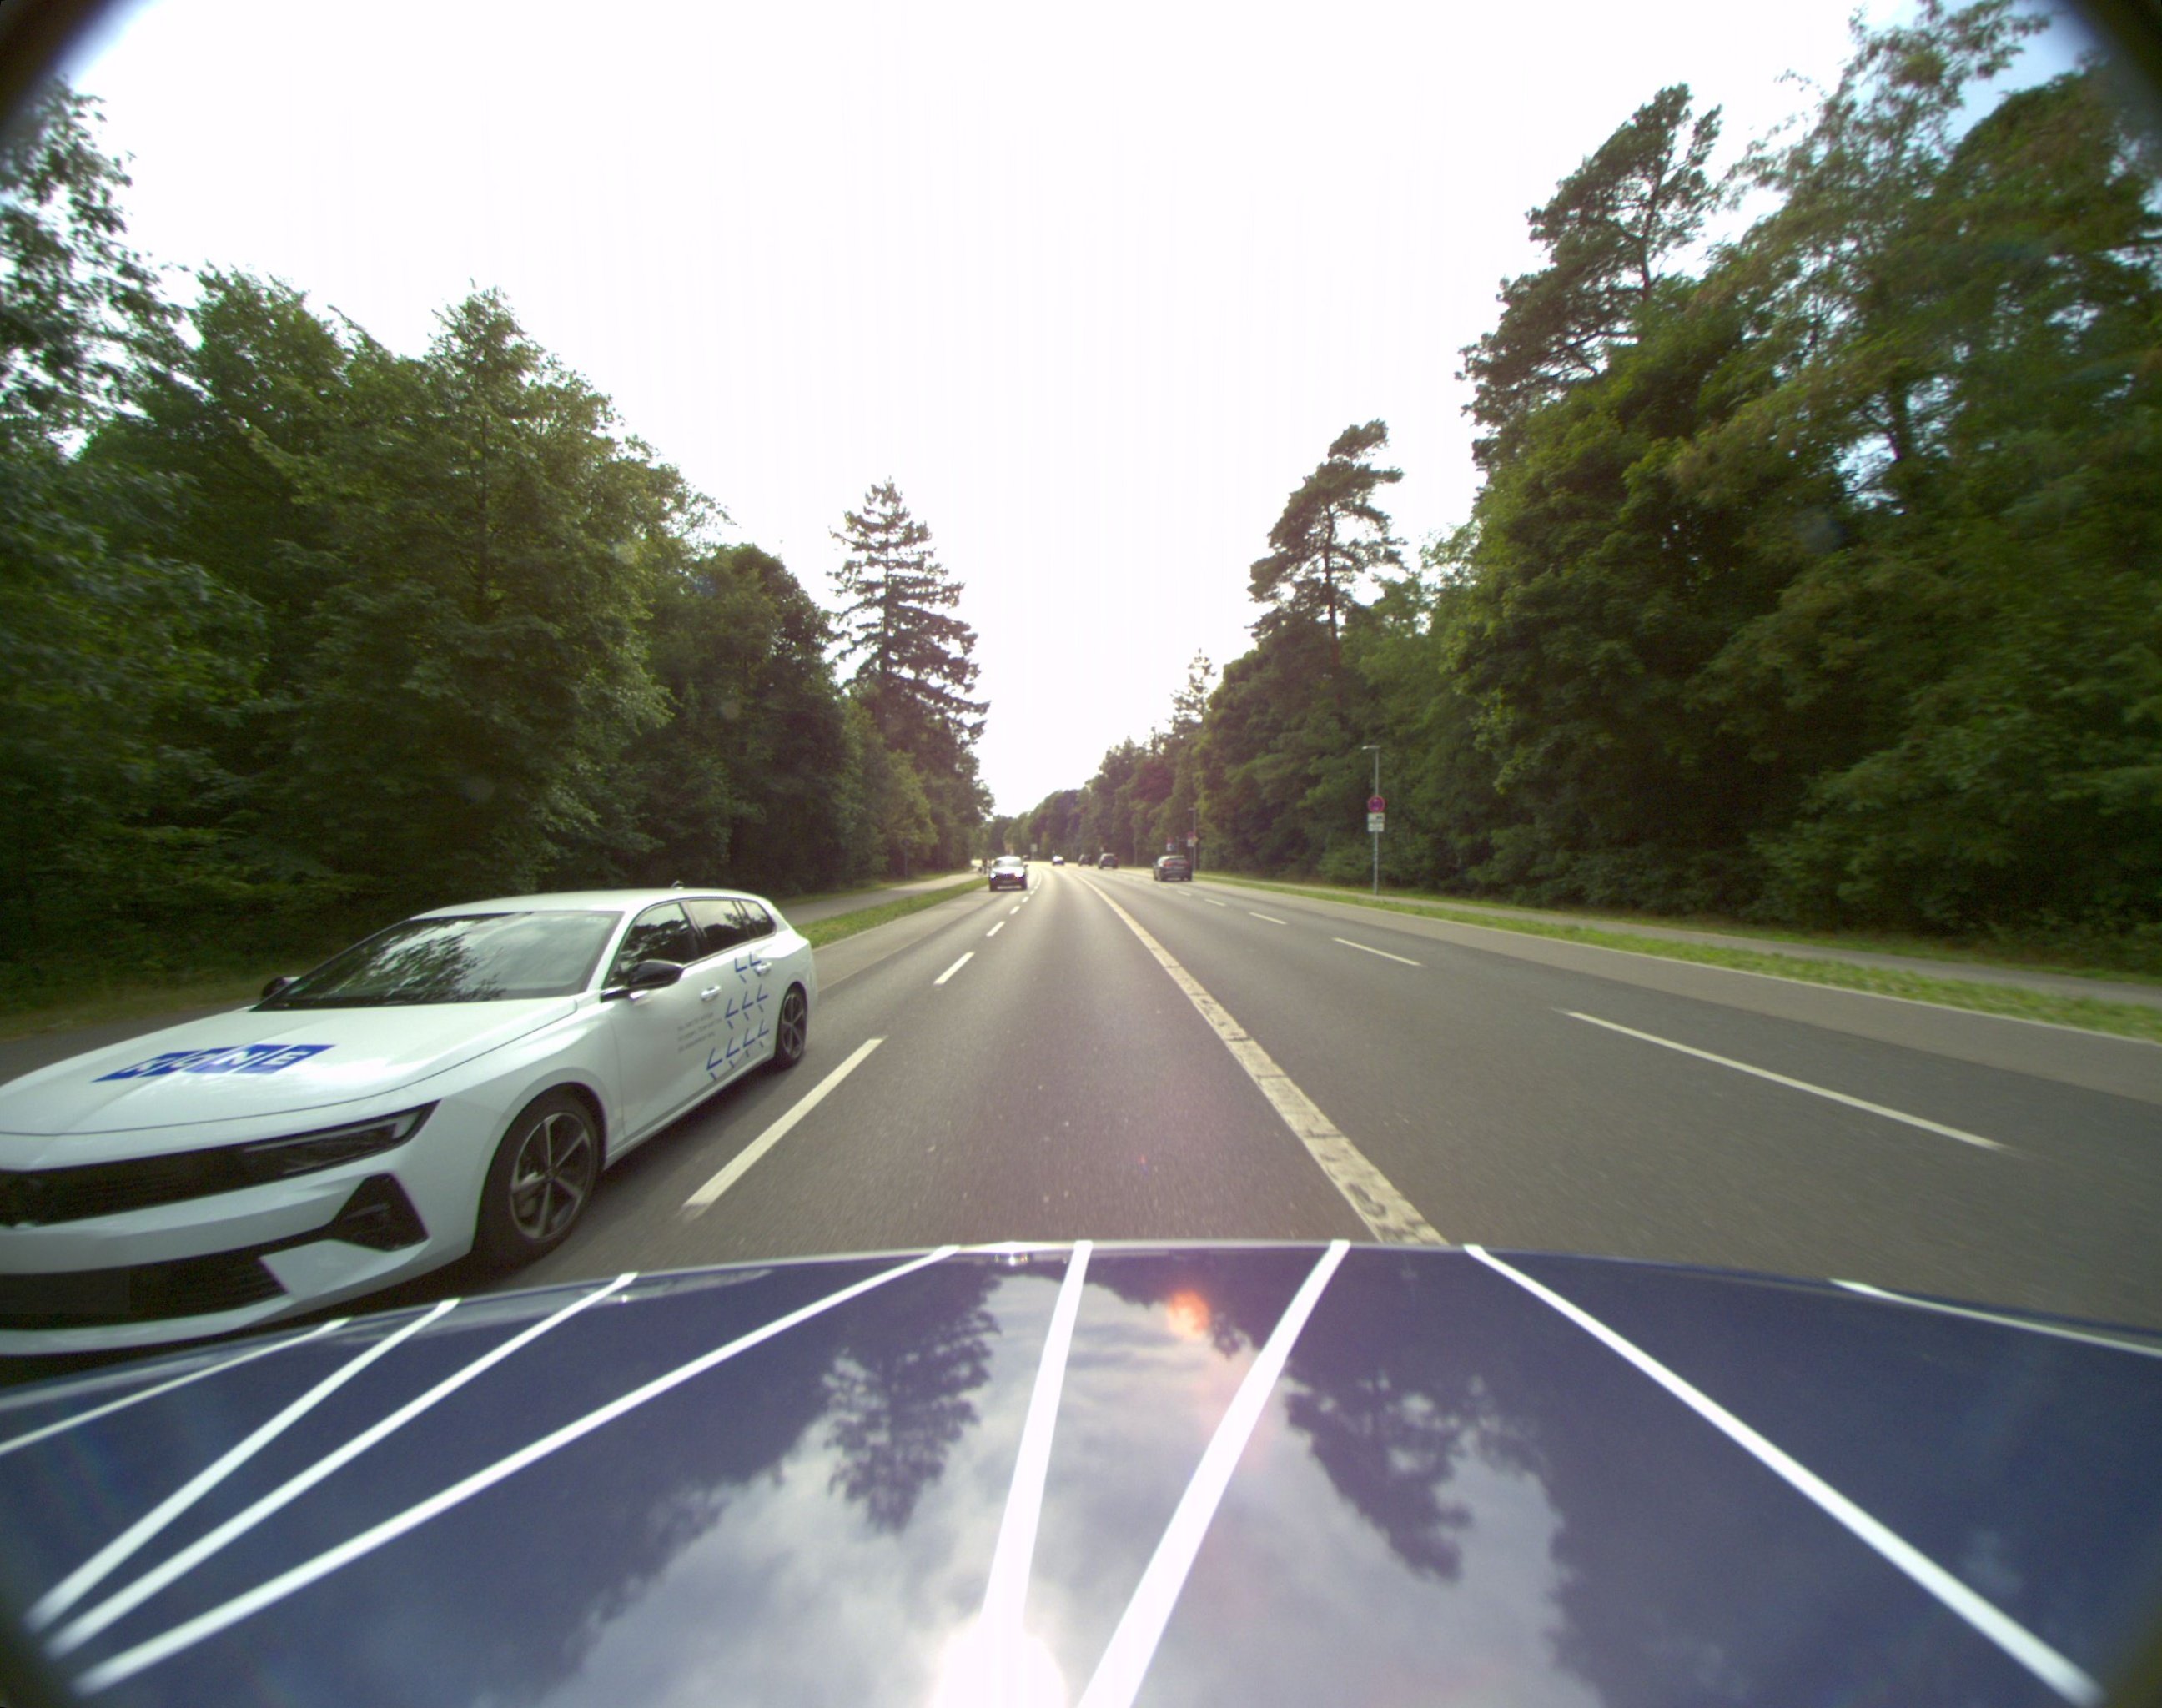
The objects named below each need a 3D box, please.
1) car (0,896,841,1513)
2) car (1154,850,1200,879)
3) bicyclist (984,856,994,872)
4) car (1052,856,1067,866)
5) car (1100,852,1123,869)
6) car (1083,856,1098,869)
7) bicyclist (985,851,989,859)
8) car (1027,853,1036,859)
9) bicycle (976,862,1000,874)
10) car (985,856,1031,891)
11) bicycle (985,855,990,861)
[{"bbox_3d":[-2.965,1.037,4.178,1.841,1.401,4.491,-2,-1,-1],"label":"car"},{"bbox_3d":[5.408,0.556,43.428,1.901,1.475,4.536,-2,1,-2],"label":"car"},{"bbox_3d":[-8.383,0.899,69.178,0.901,1.462,0.711,-2,1,-5],"label":"bicyclist"},{"bbox_3d":[-3.630,1.175,126.082,2.000,1.427,4.717,-2,1,-8],"label":"car"},{"bbox_3d":[3.403,0.749,85.537,1.999,1.607,4.661,-6,1,-4],"label":"car"},{"bbox_3d":[1.335,1.260,110.971,1.928,1.646,4.468,-2,1,-2],"label":"car"},{"bbox_3d":[-17.304,0.173,140.511,0.522,1.407,1.185,-3,1,-15],"label":"bicyclist"},{"bbox_3d":[-14.489,0.609,221.524,2.000,1.781,4.743,-4,1,-9],"label":"car"},{"bbox_3d":[-8.470,1.288,69.157,2.181,0.988,0.711,-2,0,-6],"label":"bicycle"},{"bbox_3d":[-3.735,0.960,39.391,1.999,1.565,3.999,-3,1,-1],"label":"car"},{"bbox_3d":[-17.289,0.734,140.541,0.568,0.906,1.885,1,-2,-15],"label":"bicycle"}]
